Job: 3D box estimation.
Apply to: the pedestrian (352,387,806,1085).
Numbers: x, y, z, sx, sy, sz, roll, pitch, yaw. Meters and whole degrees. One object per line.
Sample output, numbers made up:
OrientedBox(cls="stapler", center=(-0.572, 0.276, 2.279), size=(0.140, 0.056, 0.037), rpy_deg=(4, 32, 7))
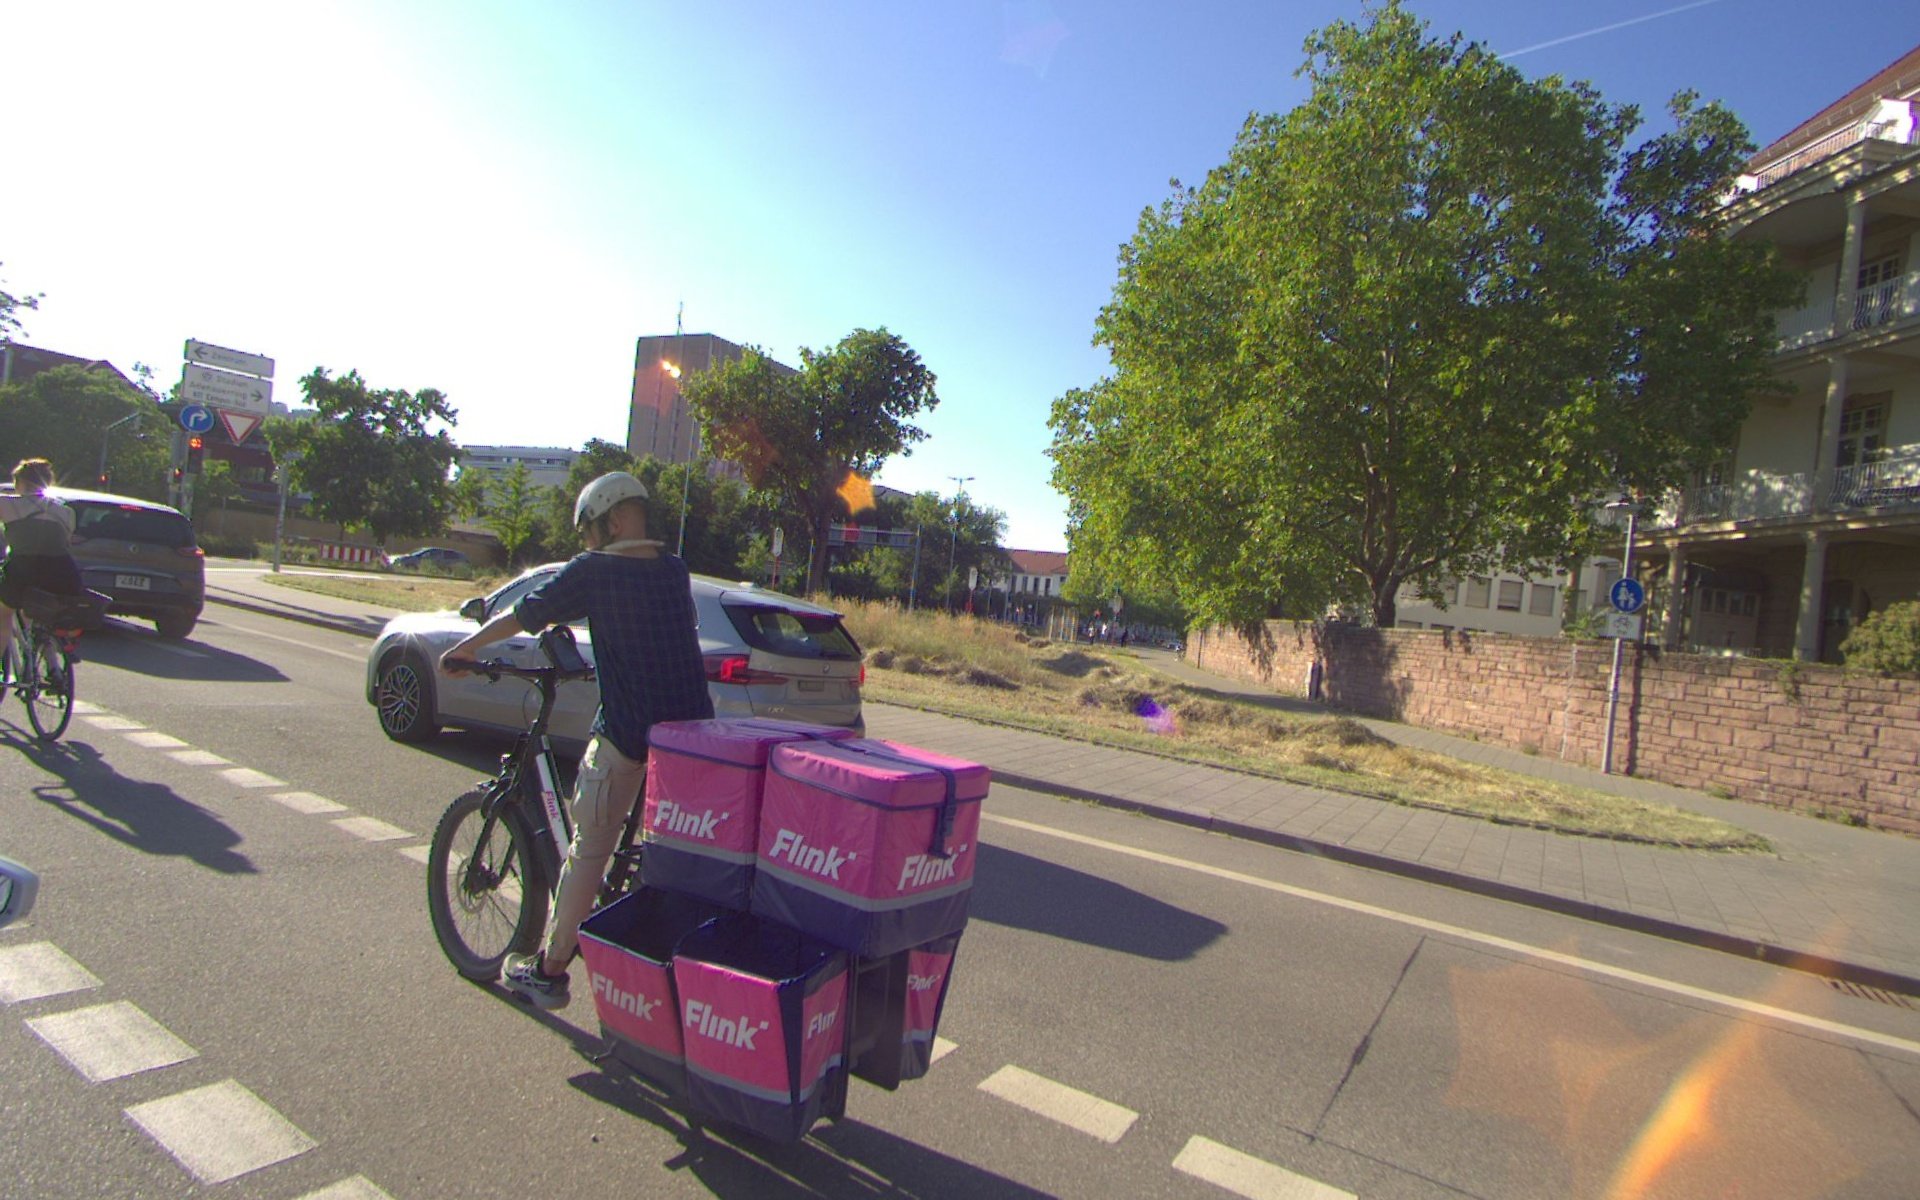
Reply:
OrientedBox(cls="pedestrian", center=(-1.232, 0.366, 3.313), size=(0.941, 1.890, 0.807), rpy_deg=(6, -2, 33))

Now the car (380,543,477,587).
OrientedBox(cls="car", center=(-25.345, -1.641, 48.027), size=(1.626, 1.580, 3.634), rpy_deg=(7, 0, 40))

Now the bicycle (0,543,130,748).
OrientedBox(cls="bicycle", center=(-6.190, 0.233, 6.564), size=(1.918, 1.164, 0.564), rpy_deg=(5, -2, 34))

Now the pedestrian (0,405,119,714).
OrientedBox(cls="pedestrian", center=(-6.184, -0.257, 6.573), size=(0.858, 1.890, 0.660), rpy_deg=(6, -1, 33))

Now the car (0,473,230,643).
OrientedBox(cls="car", center=(-11.354, -0.582, 12.696), size=(4.297, 1.708, 1.835), rpy_deg=(5, -2, 32))

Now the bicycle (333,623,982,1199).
OrientedBox(cls="bicycle", center=(-1.115, 0.789, 3.259), size=(2.335, 1.185, 0.555), rpy_deg=(5, -2, 34))

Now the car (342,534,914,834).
OrientedBox(cls="car", center=(-2.712, 0.534, 7.997), size=(4.256, 1.612, 1.791), rpy_deg=(6, -2, 30))
